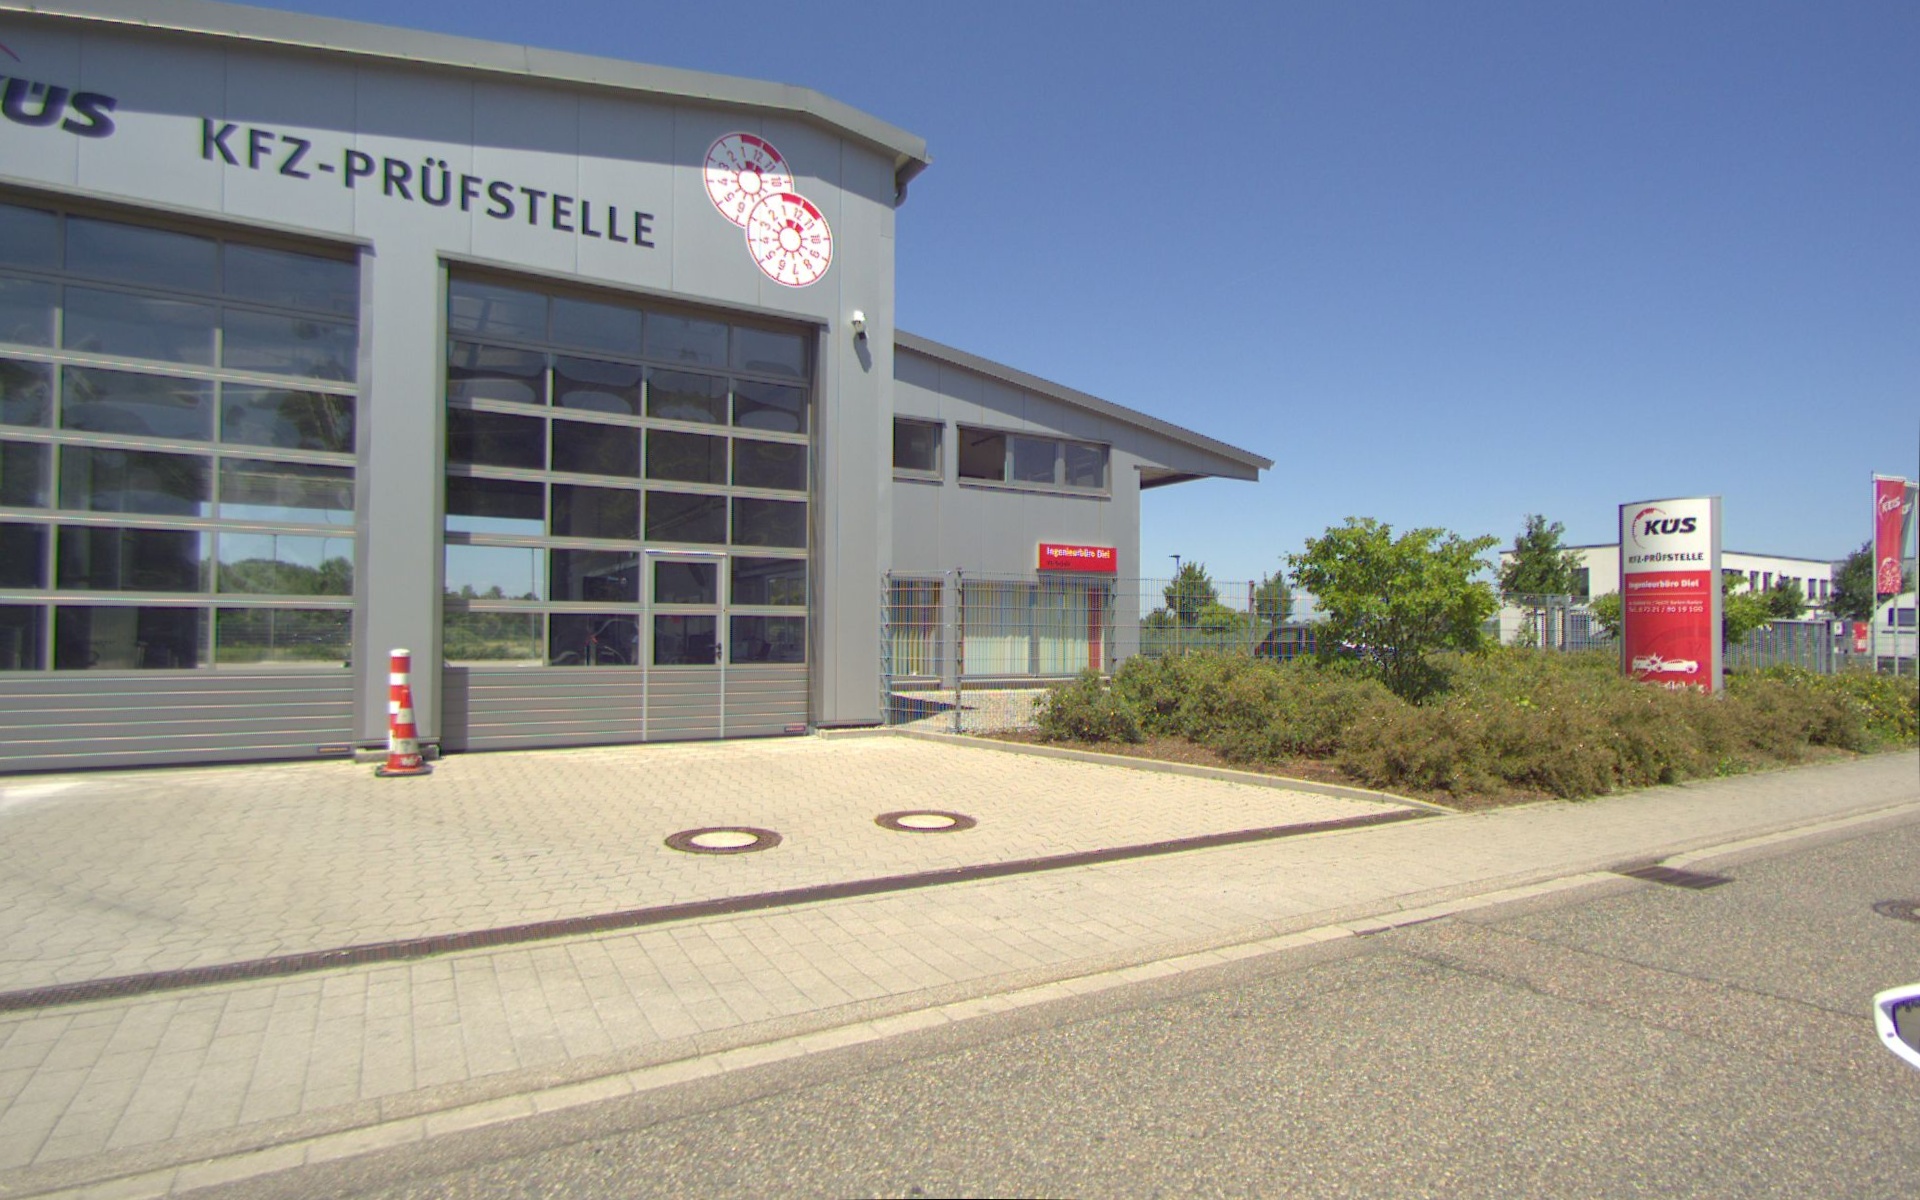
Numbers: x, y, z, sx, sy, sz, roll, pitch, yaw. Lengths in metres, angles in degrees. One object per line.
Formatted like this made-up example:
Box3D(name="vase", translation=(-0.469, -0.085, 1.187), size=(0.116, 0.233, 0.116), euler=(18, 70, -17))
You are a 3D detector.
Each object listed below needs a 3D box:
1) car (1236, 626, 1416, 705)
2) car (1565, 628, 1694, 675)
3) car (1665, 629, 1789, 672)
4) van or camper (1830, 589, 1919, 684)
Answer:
Box3D(name="car", translation=(7.934, 1.373, 22.026), size=(1.542, 1.572, 3.479), euler=(2, -2, -34))
Box3D(name="car", translation=(27.199, 2.069, 40.919), size=(1.894, 1.839, 3.968), euler=(1, -2, -30))
Box3D(name="car", translation=(34.035, 2.216, 44.660), size=(1.894, 1.839, 3.968), euler=(1, -2, -30))
Box3D(name="van or camper", translation=(33.037, 1.166, 32.152), size=(2.758, 3.077, 7.350), euler=(1, -2, -30))
